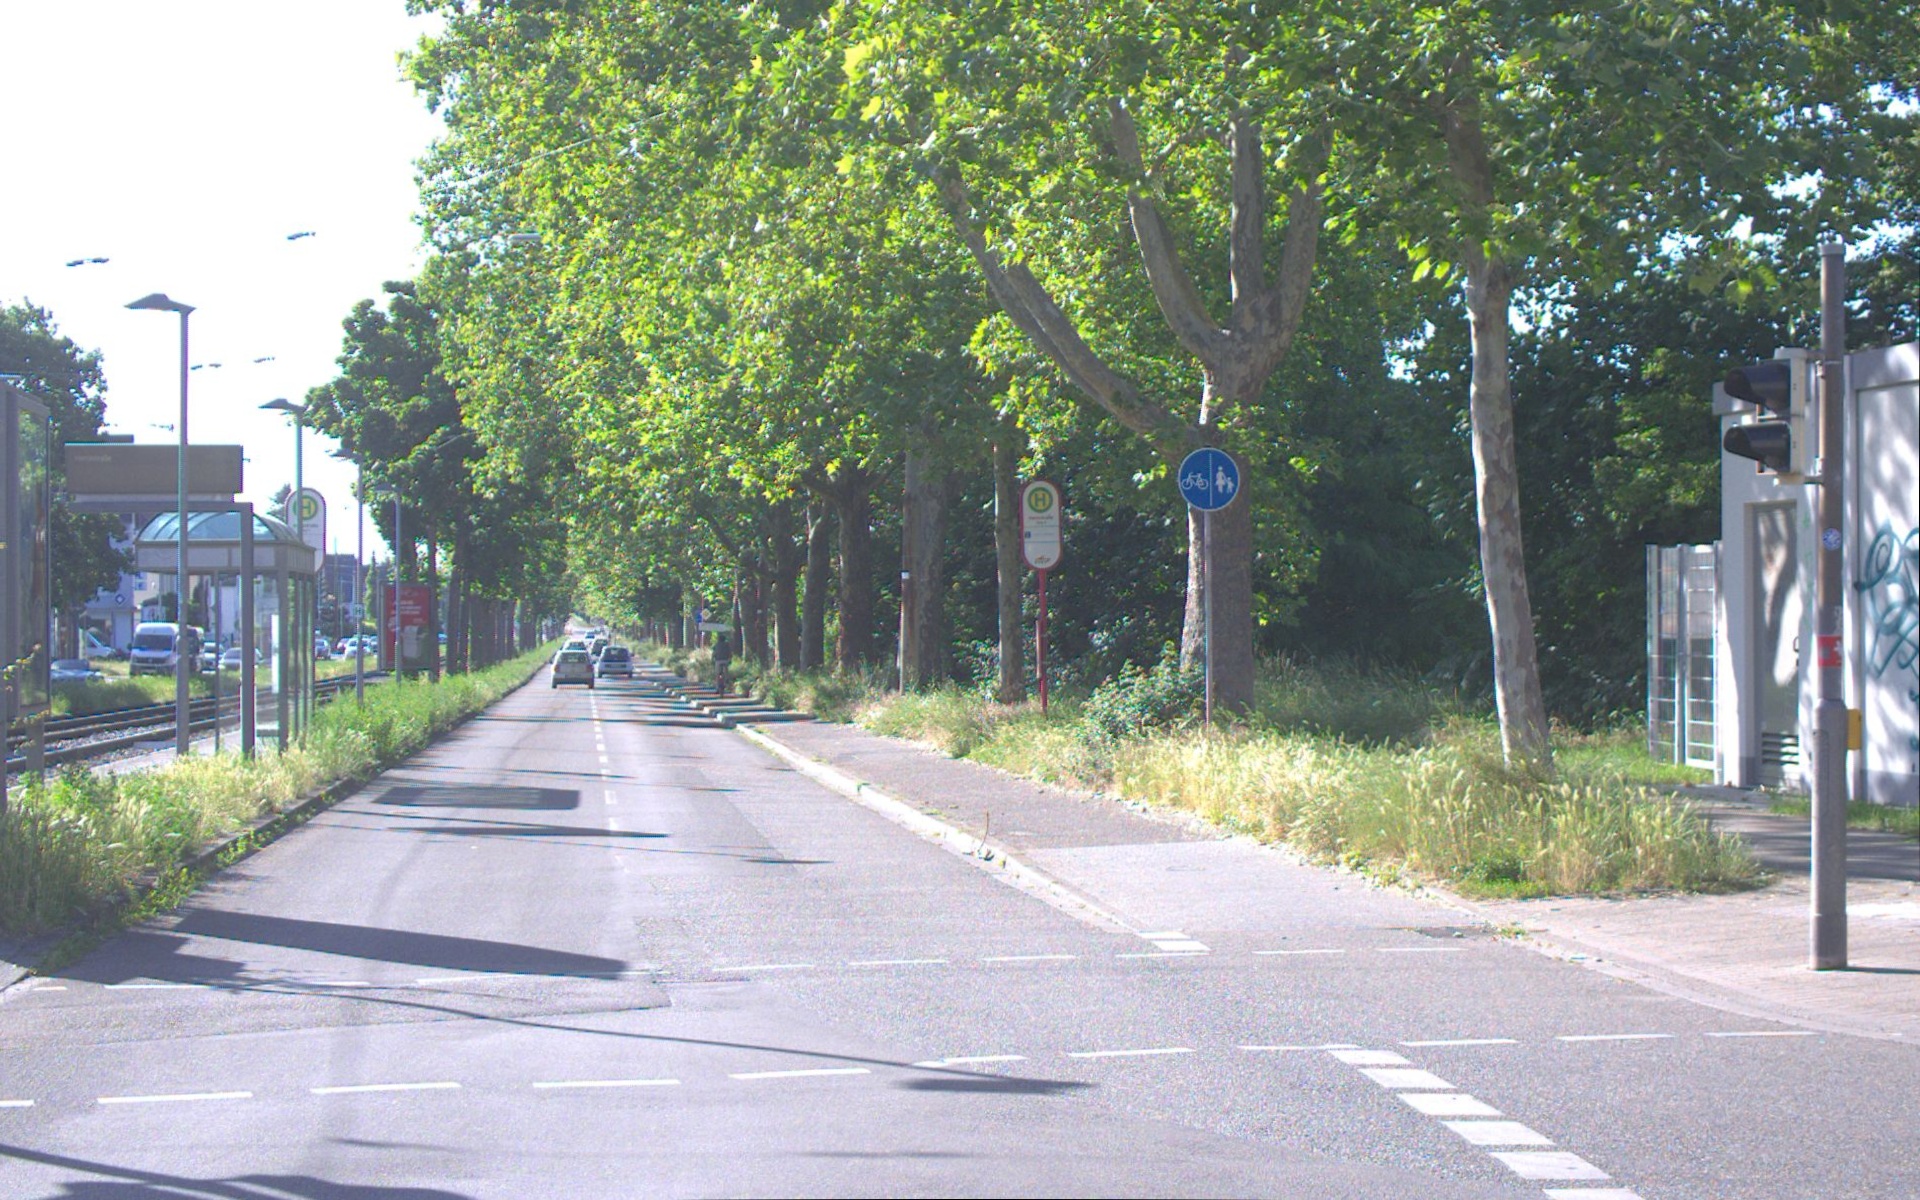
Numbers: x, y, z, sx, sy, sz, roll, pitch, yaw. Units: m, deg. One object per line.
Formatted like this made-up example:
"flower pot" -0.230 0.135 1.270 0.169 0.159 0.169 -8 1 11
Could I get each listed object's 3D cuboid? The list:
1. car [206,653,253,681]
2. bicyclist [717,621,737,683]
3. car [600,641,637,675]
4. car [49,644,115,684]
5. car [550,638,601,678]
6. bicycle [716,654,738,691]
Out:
"car" -38.820 3.535 182.785 1.920 1.433 4.000 0 -1 -5
"bicyclist" -6.721 1.500 99.089 0.534 1.764 0.713 0 -1 -8
"car" -16.600 2.809 166.840 1.750 1.599 3.750 1 -1 -6
"car" -35.110 2.549 137.546 1.920 1.571 4.000 0 -1 -5
"car" -14.547 2.188 130.234 1.867 1.481 3.556 1 -1 -6
"bicycle" -6.707 2.079 99.051 0.536 1.063 1.434 0 -1 -8
